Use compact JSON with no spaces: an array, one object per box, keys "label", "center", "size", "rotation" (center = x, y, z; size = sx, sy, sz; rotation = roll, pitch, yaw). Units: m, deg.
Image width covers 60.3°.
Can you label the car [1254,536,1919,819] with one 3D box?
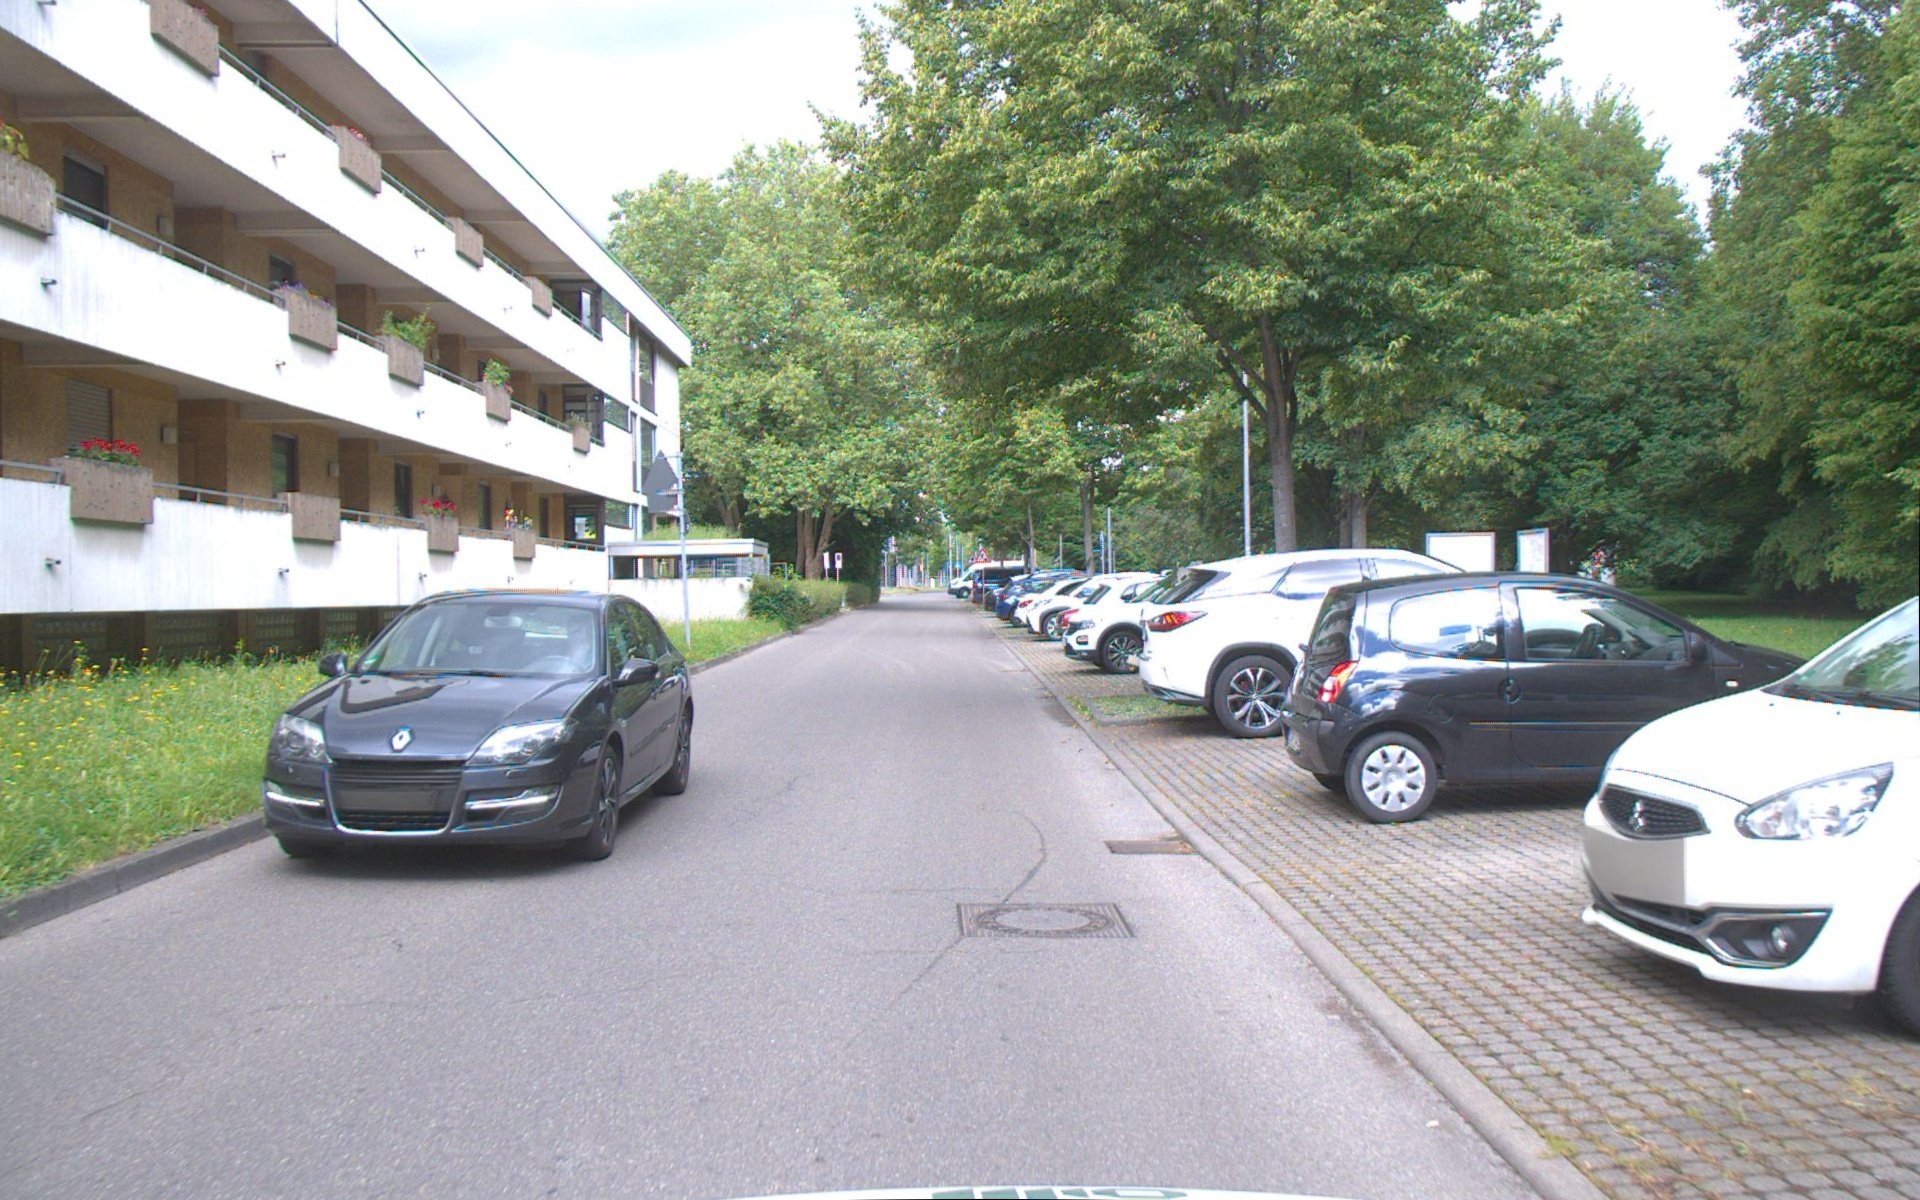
[{"label":"car","center":[4.123,0.451,10.788],"size":[4.073,1.598,1.851],"rotation":[-1,0,1]}]

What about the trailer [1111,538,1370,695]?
[{"label":"trailer","center":[3.570,0.191,21.377],"size":[2.970,1.822,1.562],"rotation":[-2,0,-4]}]

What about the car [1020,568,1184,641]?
[{"label":"car","center":[3.345,0.092,39.523],"size":[3.761,1.542,1.881],"rotation":[-2,0,2]}]

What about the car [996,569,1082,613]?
[{"label":"car","center":[3.139,-0.362,66.228],"size":[3.310,1.601,1.796],"rotation":[-3,1,-1]}]

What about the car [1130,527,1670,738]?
[{"label":"car","center":[4.106,0.293,16.090],"size":[4.718,1.722,1.975],"rotation":[-2,0,2]}]

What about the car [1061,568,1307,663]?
[{"label":"car","center":[3.892,0.252,29.091],"size":[3.931,1.446,1.790],"rotation":[-3,0,-6]}]

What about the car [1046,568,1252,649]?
[{"label":"car","center":[3.852,0.160,34.219],"size":[3.973,1.446,1.816],"rotation":[-3,0,-2]}]

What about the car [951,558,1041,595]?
[{"label":"car","center":[2.551,-1.664,117.449],"size":[6.138,2.519,2.136],"rotation":[0,1,-8]}]

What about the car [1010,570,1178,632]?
[{"label":"car","center":[3.622,0.013,45.323],"size":[4.394,1.480,1.846],"rotation":[-3,0,-1]}]

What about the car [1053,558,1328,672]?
[{"label":"car","center":[3.622,0.222,26.475],"size":[4.031,1.575,1.859],"rotation":[-3,0,-4]}]

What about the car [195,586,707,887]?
[{"label":"car","center":[-2.774,0.636,10.144],"size":[1.874,1.436,4.422],"rotation":[0,0,-2]}]

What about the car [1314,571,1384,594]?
[{"label":"car","center":[25.948,-1.176,110.360],"size":[4.334,1.453,1.704],"rotation":[-1,0,6]}]

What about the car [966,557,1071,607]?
[{"label":"car","center":[2.782,-0.863,79.119],"size":[4.853,2.048,2.166],"rotation":[-3,1,0]}]

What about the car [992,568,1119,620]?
[{"label":"car","center":[3.188,-0.190,55.610],"size":[3.993,1.543,1.849],"rotation":[-3,0,-5]}]

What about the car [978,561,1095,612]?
[{"label":"car","center":[2.919,-0.531,63.616],"size":[4.326,1.705,2.082],"rotation":[-3,1,-1]}]

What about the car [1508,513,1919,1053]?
[{"label":"car","center":[4.339,0.493,6.006],"size":[4.077,1.598,1.784],"rotation":[-1,0,-5]}]

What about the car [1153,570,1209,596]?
[{"label":"car","center":[14.903,-1.144,111.631],"size":[3.699,1.697,1.769],"rotation":[-1,0,7]}]

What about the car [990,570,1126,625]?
[{"label":"car","center":[2.962,-0.072,50.554],"size":[3.989,1.481,1.851],"rotation":[-2,0,0]}]

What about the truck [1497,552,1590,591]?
[{"label":"truck","center":[38.508,-1.873,109.184],"size":[5.390,2.468,2.194],"rotation":[-1,0,6]}]
